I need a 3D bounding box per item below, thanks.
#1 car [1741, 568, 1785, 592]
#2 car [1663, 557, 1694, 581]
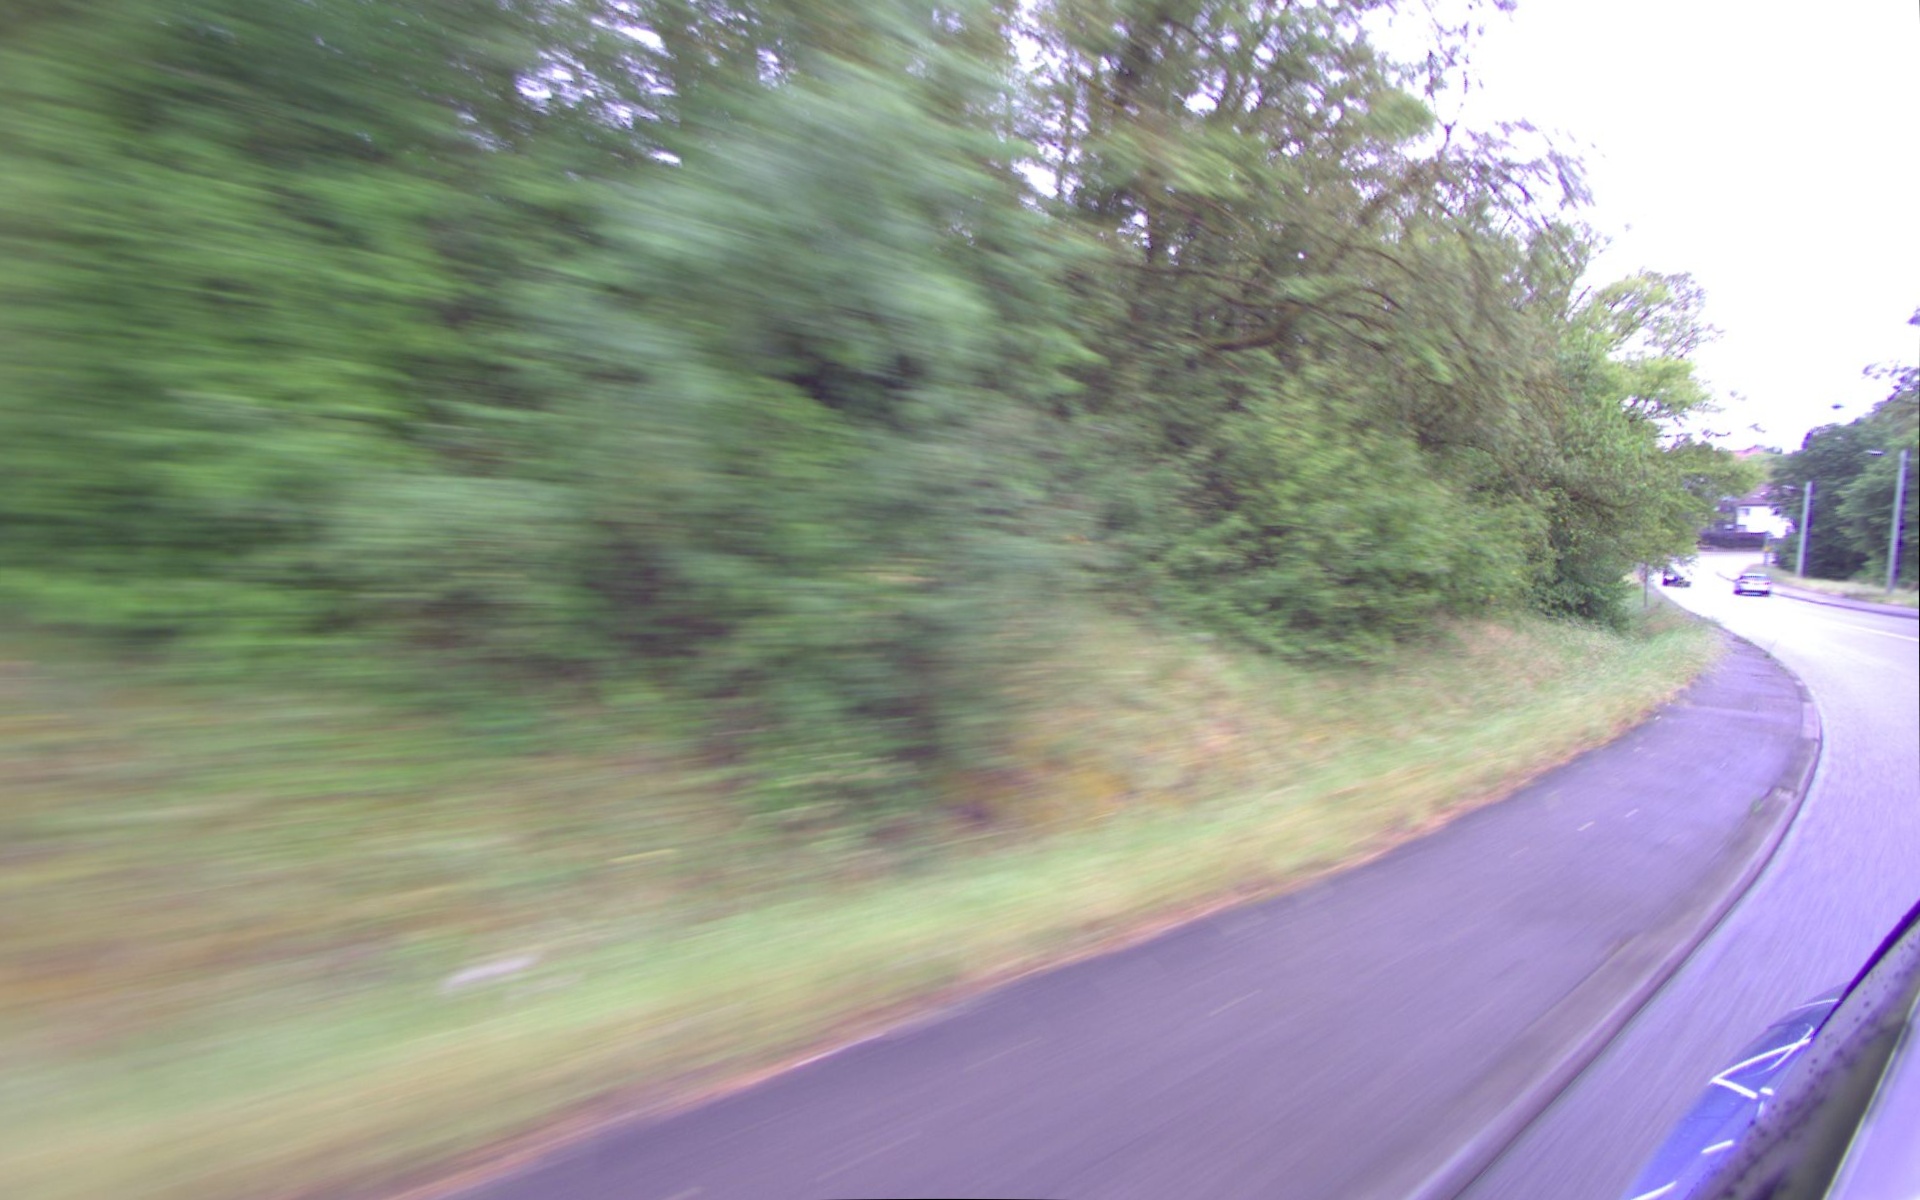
[{"bbox_3d":[55.196,-1.418,69.657,1.773,1.448,4.425,4,4,32],"label":"car"},{"bbox_3d":[58.284,-2.555,82.088,1.989,1.737,3.950,3,5,36],"label":"car"}]
